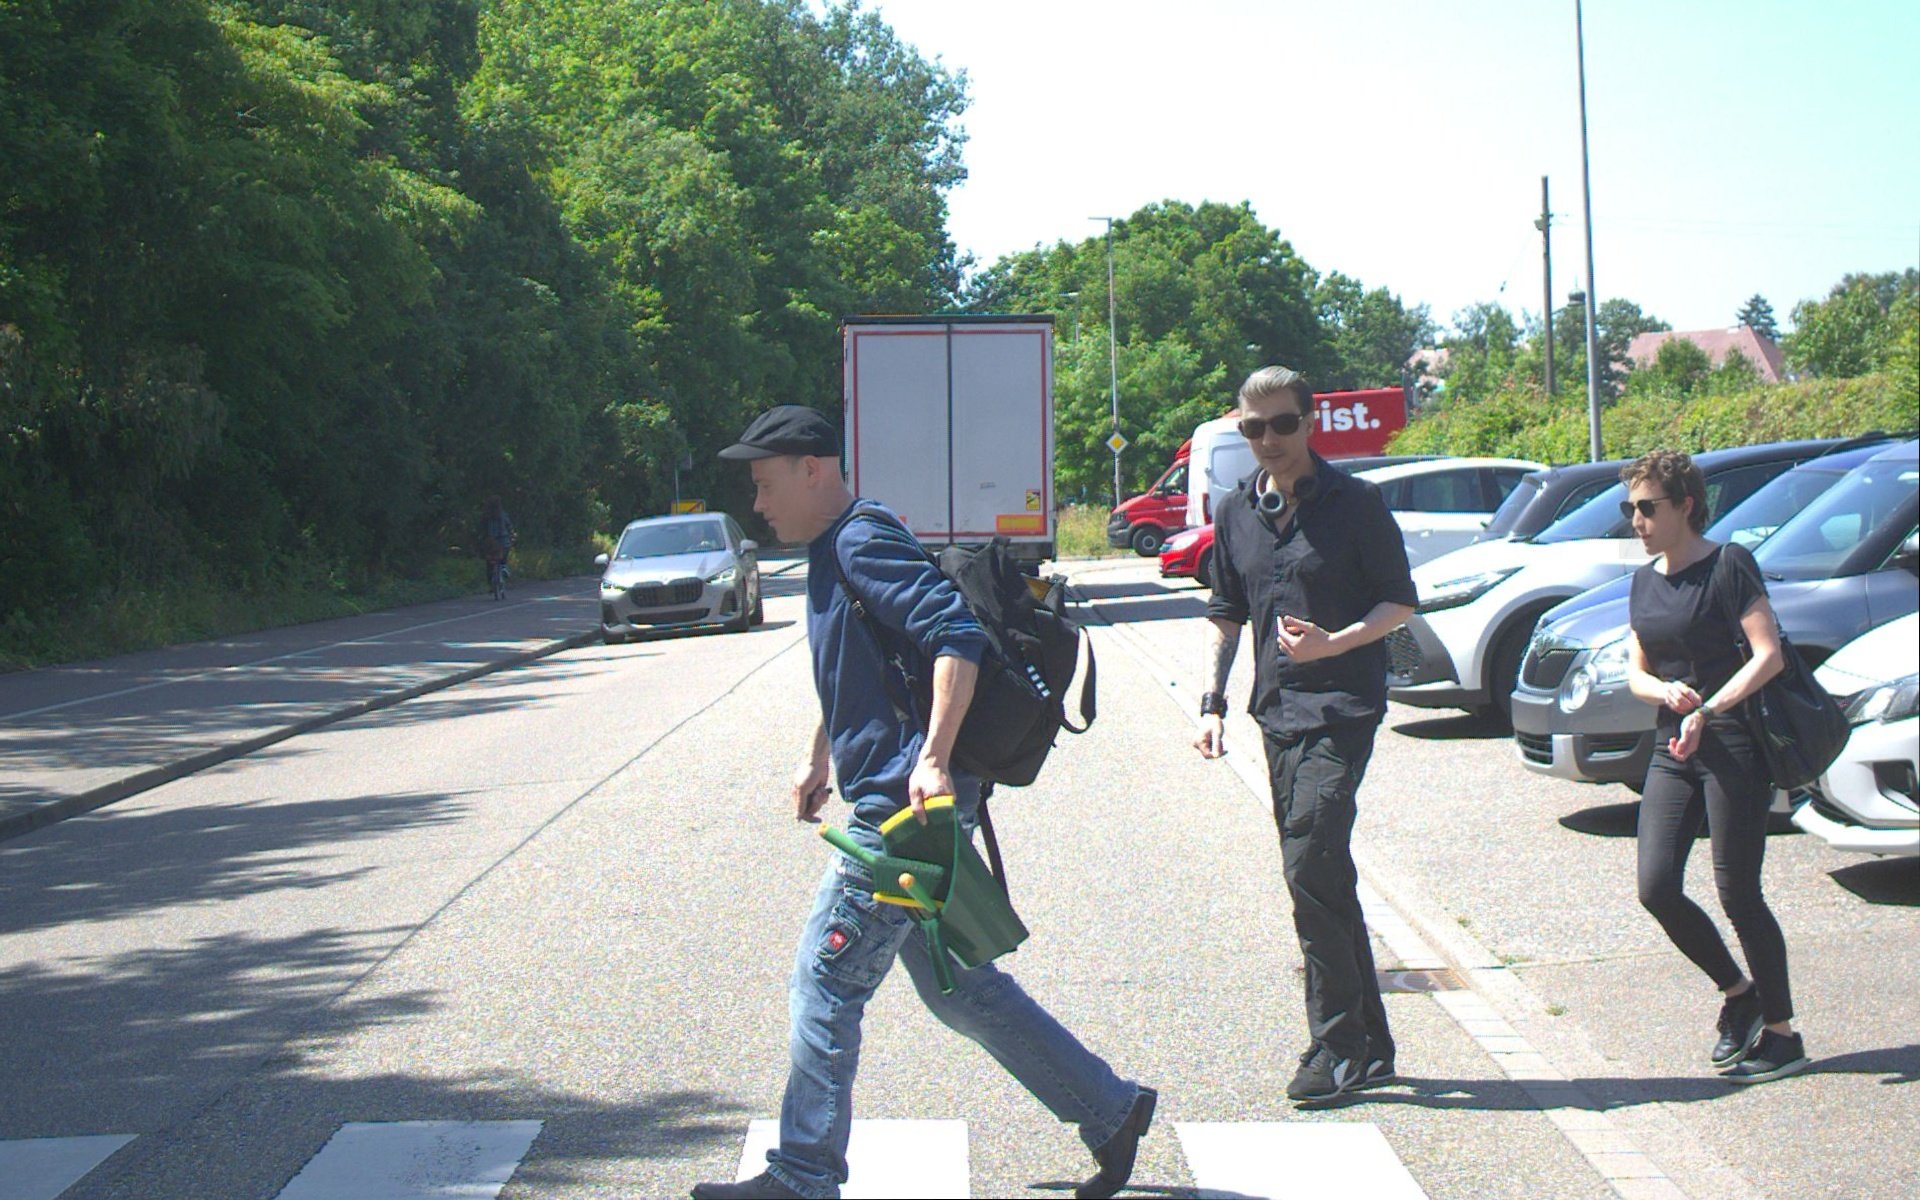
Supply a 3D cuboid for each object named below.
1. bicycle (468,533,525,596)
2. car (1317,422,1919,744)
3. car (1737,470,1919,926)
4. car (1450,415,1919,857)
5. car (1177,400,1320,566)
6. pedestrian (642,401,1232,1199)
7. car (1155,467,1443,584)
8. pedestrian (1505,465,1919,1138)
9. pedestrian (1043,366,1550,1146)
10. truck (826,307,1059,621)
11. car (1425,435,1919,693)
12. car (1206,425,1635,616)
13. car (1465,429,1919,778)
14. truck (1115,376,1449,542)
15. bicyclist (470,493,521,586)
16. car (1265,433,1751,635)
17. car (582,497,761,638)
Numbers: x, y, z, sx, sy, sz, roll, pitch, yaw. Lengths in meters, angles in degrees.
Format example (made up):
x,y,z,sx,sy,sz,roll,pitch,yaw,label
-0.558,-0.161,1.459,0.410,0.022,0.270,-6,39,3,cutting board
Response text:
x,y,z,sx,sy,sz,roll,pitch,yaw,label
-7.977,-0.621,59.197,0.561,1.023,1.839,-2,2,4,bicycle
4.352,-0.154,20.759,3.962,1.517,1.865,-6,2,-5,car
4.783,0.158,12.087,3.690,1.445,1.610,-5,2,4,car
4.339,0.013,14.961,3.960,1.634,1.664,-6,2,-5,car
5.198,-2.156,62.814,1.954,2.724,7.168,-4,2,1,car
-0.074,0.475,7.237,1.155,1.745,1.023,0,1,-3,pedestrian
5.127,-1.147,52.316,4.053,1.429,1.836,-4,2,-2,car
1.969,0.471,8.785,0.780,1.605,0.894,1,1,39,pedestrian
0.877,0.354,8.843,0.783,1.858,1.084,3,2,39,pedestrian
-0.103,-1.840,48.066,2.733,3.733,13.246,-1,2,1,truck
5.025,-0.272,23.749,3.388,1.498,1.588,-4,2,4,car
5.226,-0.911,39.403,4.452,1.798,1.953,-5,1,-4,car
4.567,-0.069,17.891,3.452,1.521,1.540,-6,2,-5,car
7.230,-3.146,76.826,7.140,3.428,2.329,-1,3,11,truck
-7.991,-1.046,59.201,0.648,1.559,0.837,-2,2,4,bicyclist
5.236,-0.652,33.195,4.276,1.572,1.766,-4,2,-1,car
-3.652,-0.462,44.224,1.891,1.527,4.197,-6,2,-1,car
